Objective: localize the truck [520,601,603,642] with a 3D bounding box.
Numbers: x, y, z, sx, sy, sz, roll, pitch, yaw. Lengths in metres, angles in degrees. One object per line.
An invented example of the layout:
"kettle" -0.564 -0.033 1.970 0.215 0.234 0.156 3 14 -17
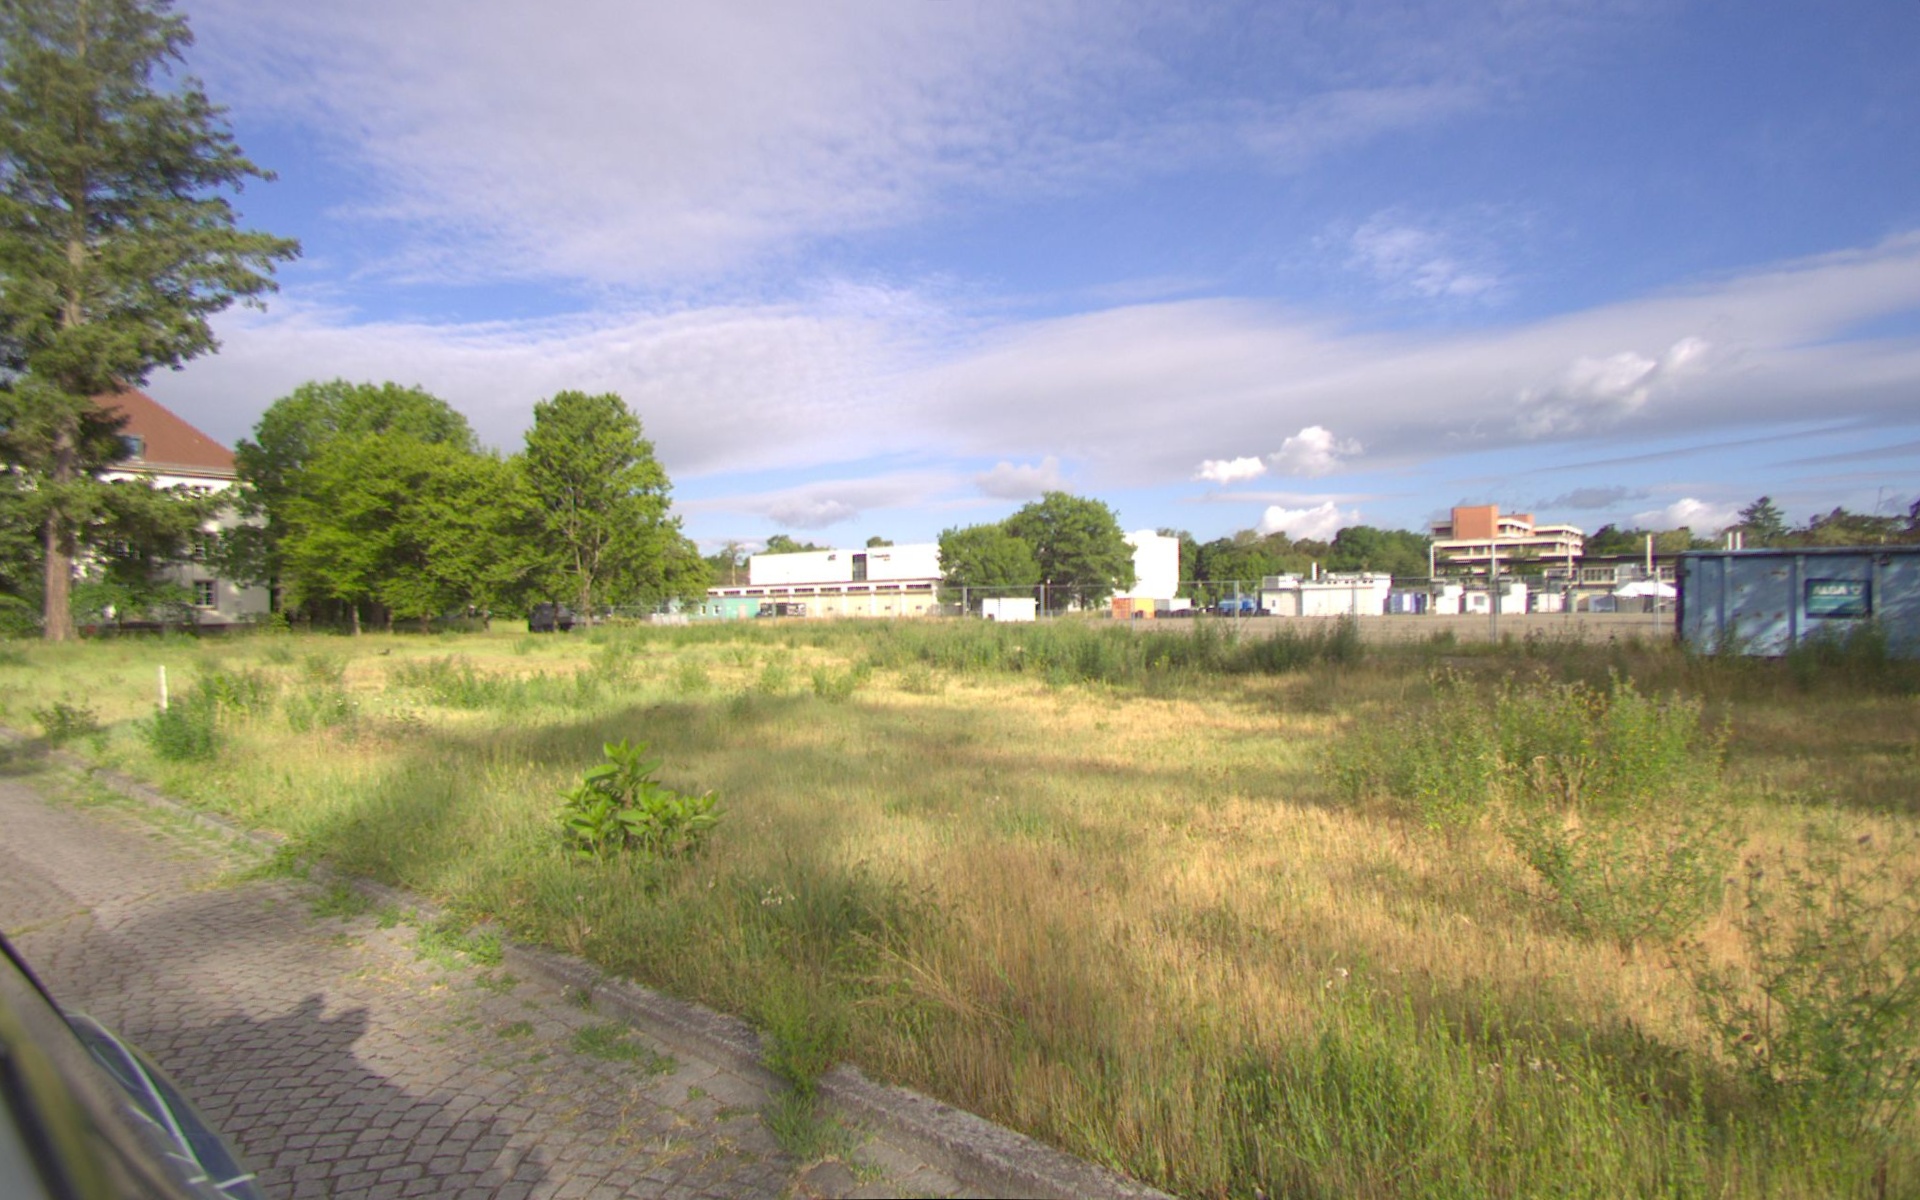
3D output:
"truck" -27.232 1.491 69.022 6.956 2.606 2.386 -2 -1 42
